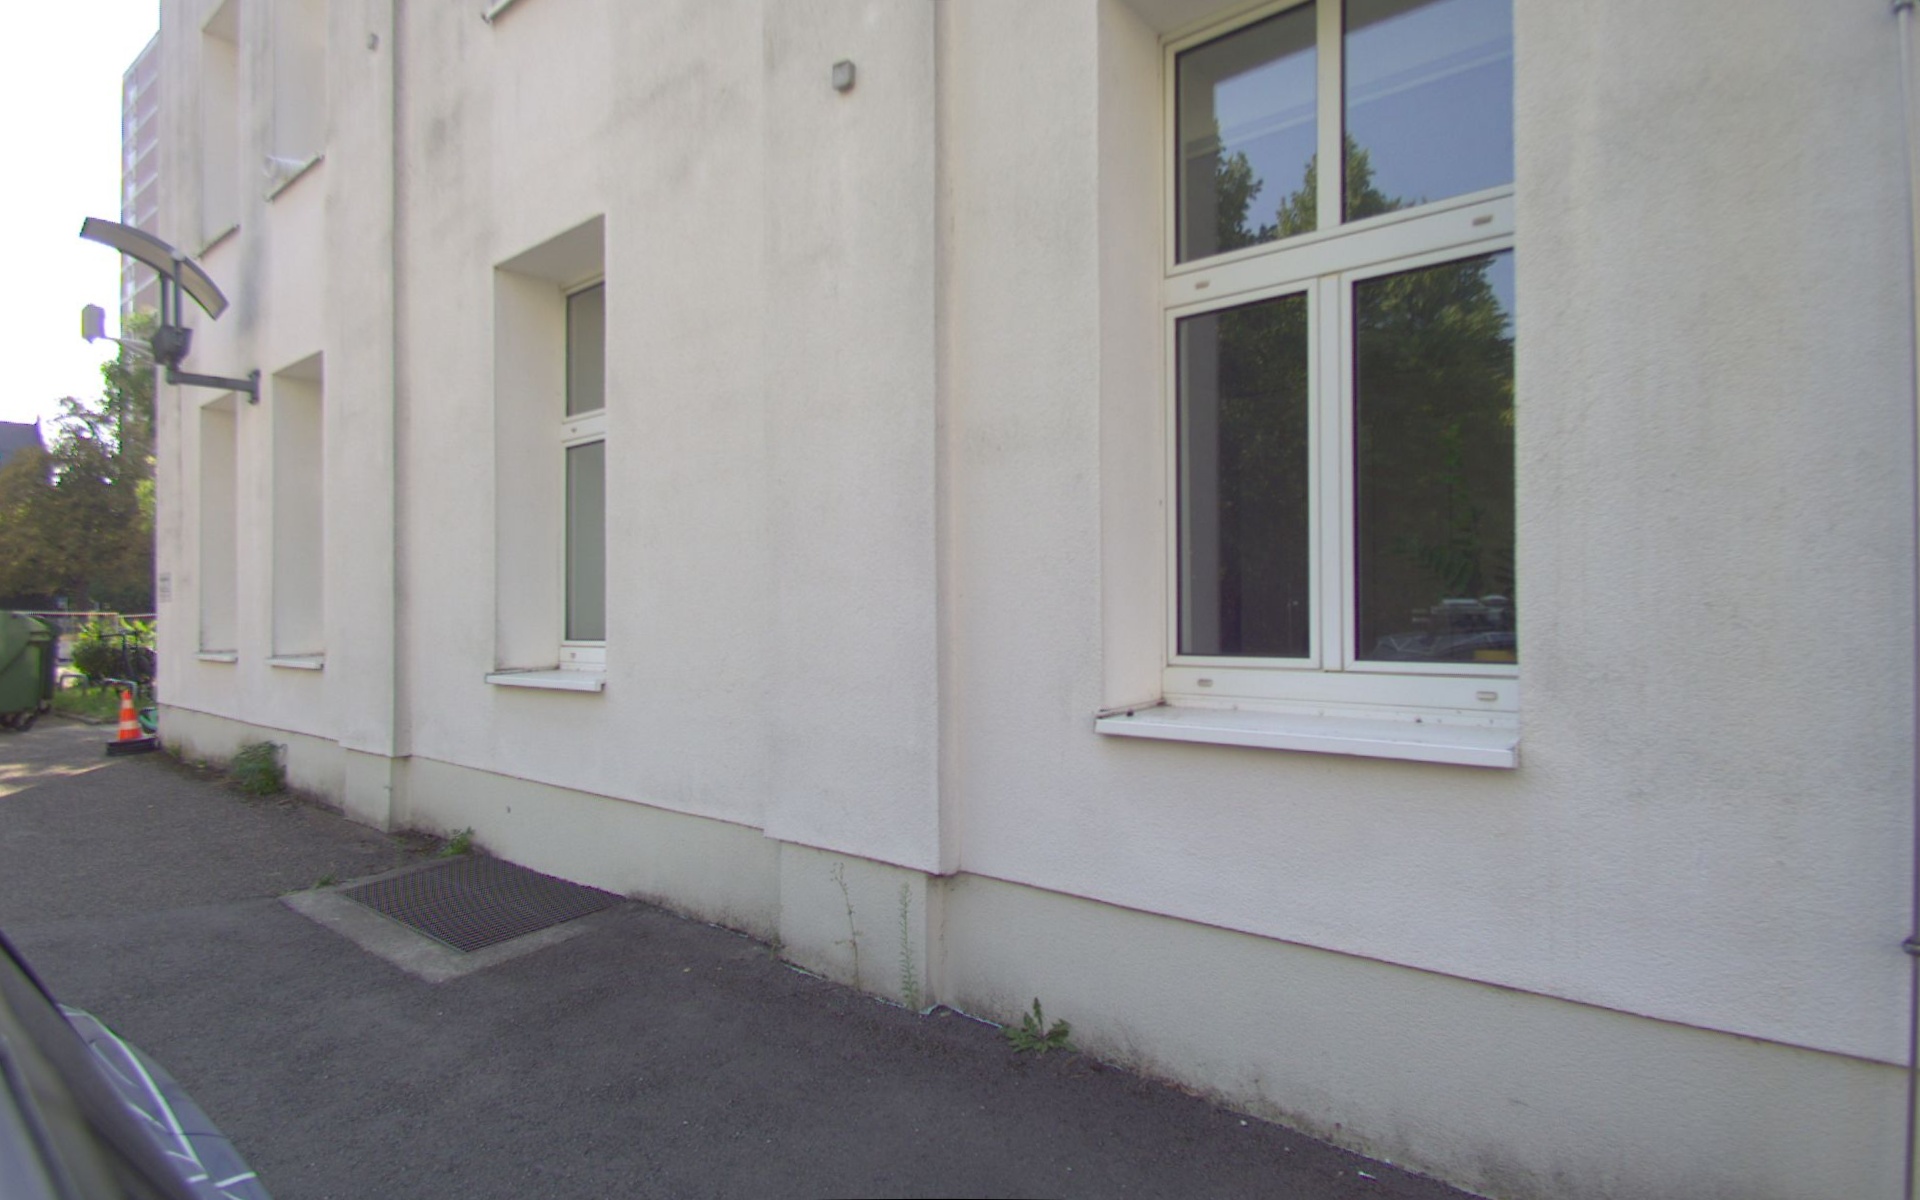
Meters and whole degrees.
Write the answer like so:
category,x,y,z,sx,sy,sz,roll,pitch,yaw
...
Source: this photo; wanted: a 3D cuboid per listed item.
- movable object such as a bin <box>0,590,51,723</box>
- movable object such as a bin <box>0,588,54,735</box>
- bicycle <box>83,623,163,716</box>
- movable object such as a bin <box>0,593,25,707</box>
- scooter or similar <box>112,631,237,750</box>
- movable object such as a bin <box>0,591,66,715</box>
category,x,y,z,sx,sy,sz,roll,pitch,yaw
movable object such as a bin,-12.983,0.733,13.509,1.395,1.718,1.167,-1,-1,44
movable object such as a bin,-11.804,0.719,12.110,1.374,1.718,1.170,-1,-1,36
bicycle,-11.913,0.945,14.377,2.006,1.222,0.471,-1,-1,38
movable object such as a bin,-15.121,0.753,15.324,1.374,1.718,1.170,-1,-1,36
scooter or similar,-8.846,0.992,11.391,1.484,1.272,0.383,0,-1,20
movable object such as a bin,-13.885,0.744,14.630,1.374,1.718,1.170,-1,-1,36
